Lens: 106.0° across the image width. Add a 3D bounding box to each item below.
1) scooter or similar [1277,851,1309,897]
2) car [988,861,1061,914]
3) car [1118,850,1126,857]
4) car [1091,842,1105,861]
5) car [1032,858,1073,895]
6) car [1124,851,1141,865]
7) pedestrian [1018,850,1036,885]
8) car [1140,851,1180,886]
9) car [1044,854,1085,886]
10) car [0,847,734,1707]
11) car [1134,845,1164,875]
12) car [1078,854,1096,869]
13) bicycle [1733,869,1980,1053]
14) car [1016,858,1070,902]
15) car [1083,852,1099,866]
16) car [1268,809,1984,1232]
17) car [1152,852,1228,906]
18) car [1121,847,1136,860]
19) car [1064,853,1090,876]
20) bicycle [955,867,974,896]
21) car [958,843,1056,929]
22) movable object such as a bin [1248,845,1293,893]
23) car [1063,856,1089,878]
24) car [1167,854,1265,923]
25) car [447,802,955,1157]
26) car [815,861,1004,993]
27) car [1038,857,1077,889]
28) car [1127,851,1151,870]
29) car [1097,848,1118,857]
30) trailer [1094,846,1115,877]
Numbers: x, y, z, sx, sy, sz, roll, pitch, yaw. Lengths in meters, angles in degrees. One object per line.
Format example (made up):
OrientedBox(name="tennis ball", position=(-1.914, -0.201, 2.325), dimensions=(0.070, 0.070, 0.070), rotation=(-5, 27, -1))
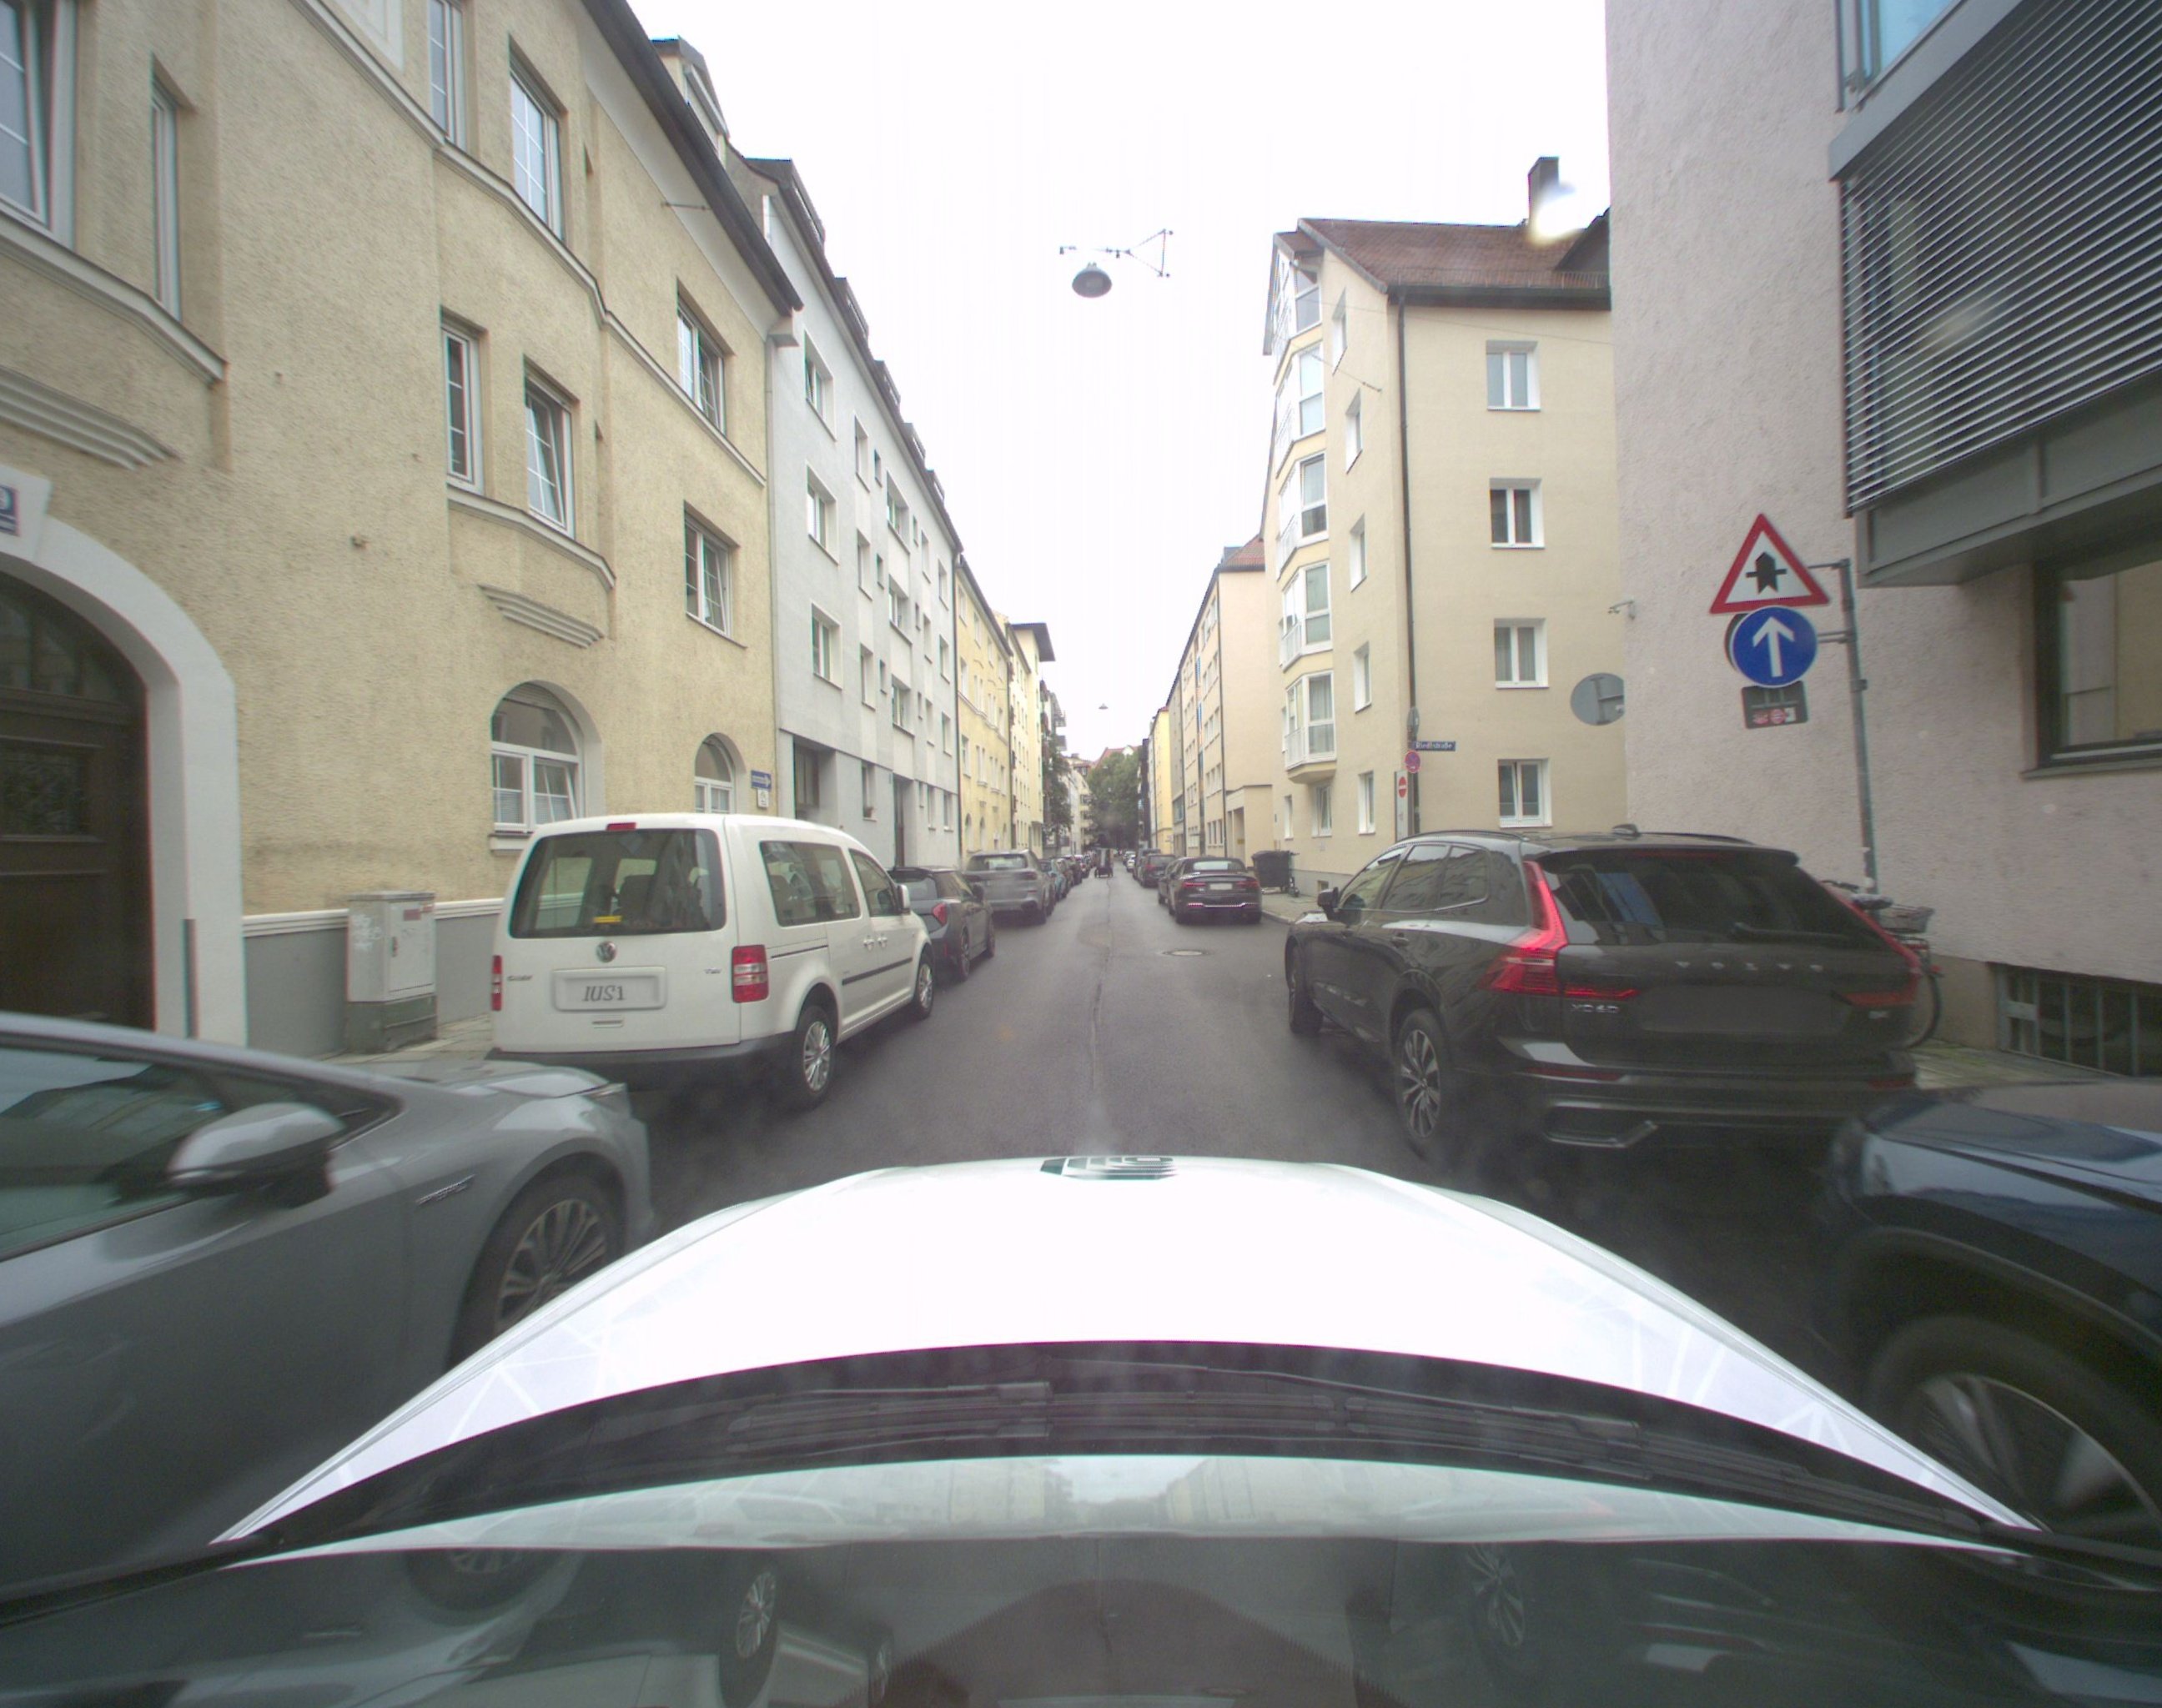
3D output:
OrientedBox(name="scooter or similar", position=(6.101, 0.566, 23.492), dimensions=(0.574, 1.266, 1.137), rotation=(-4, -1, 2))
OrientedBox(name="car", position=(-1.640, 0.967, 25.133), dimensions=(1.805, 1.386, 4.251), rotation=(-4, -1, 1))
OrientedBox(name="car", position=(8.926, -0.050, 177.890), dimensions=(1.636, 1.383, 3.747), rotation=(-4, 0, 2))
OrientedBox(name="car", position=(2.735, -0.423, 132.282), dimensions=(1.929, 2.801, 4.535), rotation=(-4, 0, 2))
OrientedBox(name="car", position=(-1.200, 0.934, 35.771), dimensions=(1.557, 1.460, 3.764), rotation=(-3, 0, 1))
OrientedBox(name="car", position=(5.737, 0.441, 90.591), dimensions=(1.744, 1.469, 4.345), rotation=(1, 1, 2))
OrientedBox(name="pedestrian", position=(-2.802, 0.678, 42.237), dimensions=(0.836, 1.764, 1.068), rotation=(-1, 0, 2))
OrientedBox(name="car", position=(3.850, 0.707, 40.335), dimensions=(1.705, 1.608, 4.246), rotation=(-1, 0, 2))
OrientedBox(name="car", position=(-0.865, 0.857, 45.513), dimensions=(1.871, 1.660, 4.419), rotation=(-3, 0, 4))
OrientedBox(name="car", position=(-2.353, 0.781, 1.230), dimensions=(1.665, 1.475, 4.114), rotation=(-4, -1, 2))
OrientedBox(name="car", position=(4.632, 0.390, 55.891), dimensions=(1.745, 1.975, 4.342), rotation=(1, 0, 0))
OrientedBox(name="car", position=(0.665, 0.736, 85.837), dimensions=(1.686, 1.442, 3.945), rotation=(-3, 0, 3))
OrientedBox(name="bicycle", position=(5.529, 0.693, 5.927), dimensions=(0.355, 1.122, 1.544), rotation=(-2, 0, 3))
OrientedBox(name="car", position=(-1.345, 0.908, 29.922), dimensions=(1.556, 1.460, 3.407), rotation=(-3, 0, 4))
OrientedBox(name="car", position=(1.226, 0.571, 99.356), dimensions=(1.770, 1.629, 4.417), rotation=(-3, 0, 2))
OrientedBox(name="car", position=(2.620, 0.660, 5.367), dimensions=(1.826, 1.621, 4.412), rotation=(-1, 0, 1))
OrientedBox(name="car", position=(3.205, 0.708, 24.794), dimensions=(1.711, 1.471, 4.530), rotation=(-1, 0, 0))
OrientedBox(name="car", position=(5.852, -0.041, 100.653), dimensions=(1.676, 1.567, 4.415), rotation=(1, 1, 0))
OrientedBox(name="car", position=(-0.284, 0.786, 63.249), dimensions=(1.759, 1.675, 4.369), rotation=(-3, 0, 1))
OrientedBox(name="bicycle", position=(-4.305, 0.990, 30.176), dimensions=(0.394, 1.031, 1.571), rotation=(-1, -1, 2))
OrientedBox(name="car", position=(-1.685, 0.716, 20.159), dimensions=(1.856, 1.770, 4.735), rotation=(-4, 0, 0))
OrientedBox(name="movable object such as a bin", position=(6.044, 0.465, 26.112), dimensions=(1.028, 1.423, 1.587), rotation=(-4, -1, 2))
OrientedBox(name="car", position=(-0.328, 0.908, 57.973), dimensions=(1.645, 1.435, 3.805), rotation=(-3, 0, 2))
OrientedBox(name="car", position=(2.986, 0.717, 18.790), dimensions=(1.824, 1.406, 4.416), rotation=(-1, 0, 4))
OrientedBox(name="car", position=(-2.366, 0.681, 6.455), dimensions=(1.716, 1.789, 4.253), rotation=(-4, 0, 3))
OrientedBox(name="car", position=(-2.152, 0.874, 11.229), dimensions=(1.646, 1.411, 3.736), rotation=(-4, -1, 1))
OrientedBox(name="car", position=(-1.151, 0.896, 40.669), dimensions=(1.556, 1.460, 3.479), rotation=(-3, 0, 4))
OrientedBox(name="car", position=(4.986, 0.508, 70.427), dimensions=(1.812, 1.408, 3.954), rotation=(-1, 3, 1))
OrientedBox(name="car", position=(5.231, -0.333, 160.819), dimensions=(3.872, 1.584, 1.648), rotation=(-4, 0, 1))
OrientedBox(name="trailer", position=(1.669, 0.543, 57.727), dimensions=(1.350, 2.116, 3.320), rotation=(-2, -1, 3))
